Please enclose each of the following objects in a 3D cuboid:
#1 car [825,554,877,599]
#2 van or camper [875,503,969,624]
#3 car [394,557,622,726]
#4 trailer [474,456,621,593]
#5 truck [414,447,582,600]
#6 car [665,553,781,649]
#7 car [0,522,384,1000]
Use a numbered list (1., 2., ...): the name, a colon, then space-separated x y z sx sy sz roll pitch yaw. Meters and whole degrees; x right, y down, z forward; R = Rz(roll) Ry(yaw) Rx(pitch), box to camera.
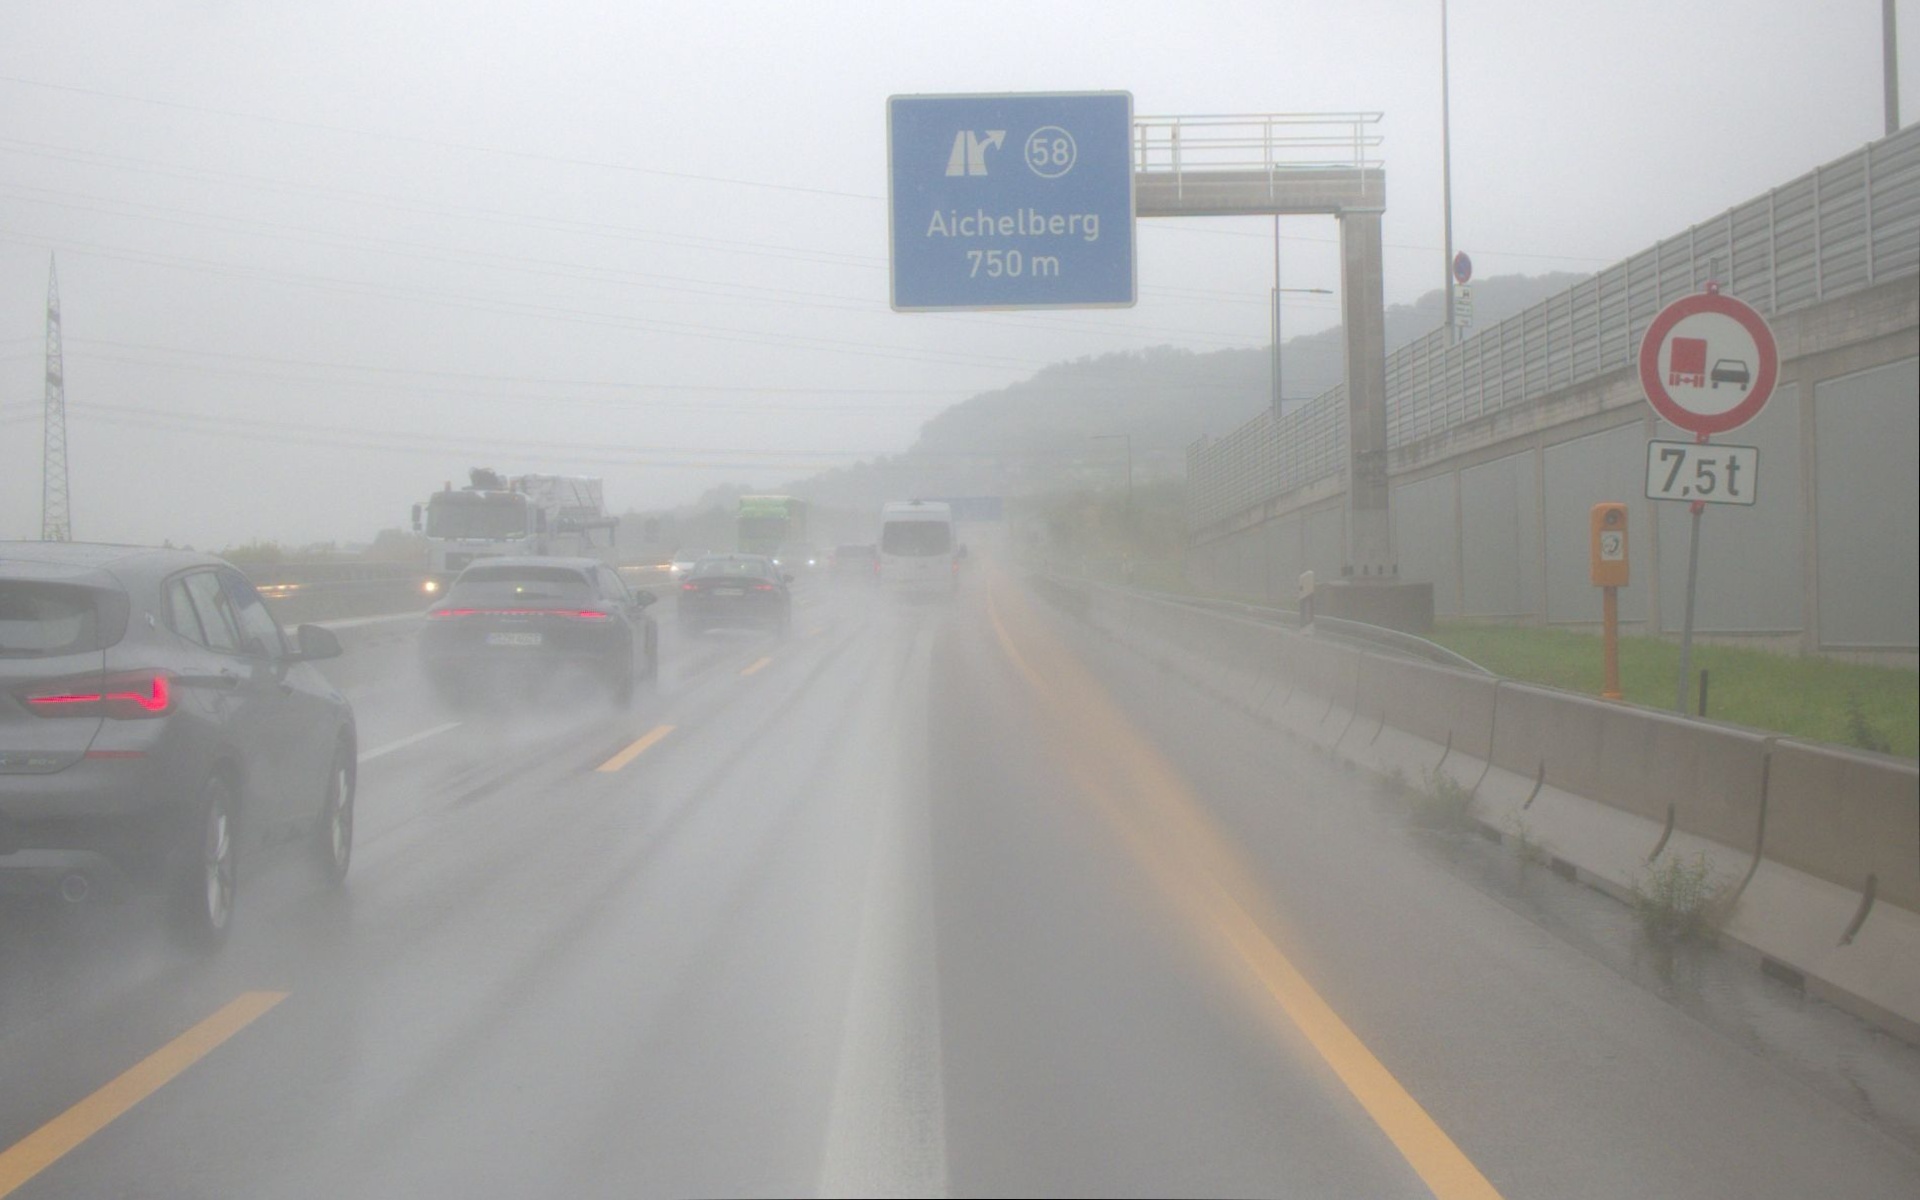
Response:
1. car: -3.819 -0.808 119.749 1.566 1.475 2.822 -2 -1 -6
2. van or camper: -0.917 -0.830 81.173 1.996 2.768 4.050 0 -1 -3
3. car: -4.228 0.387 32.716 1.844 1.486 4.262 0 0 -3
4. trailer: -10.729 -1.959 90.192 2.662 3.351 9.715 1 1 0
5. truck: -10.717 -1.773 80.591 2.639 3.336 9.553 1 1 0
6. car: -4.015 -0.013 58.413 1.844 1.486 4.262 -2 1 -3
7. car: -3.450 0.553 13.892 1.700 1.592 4.845 0 0 -3
